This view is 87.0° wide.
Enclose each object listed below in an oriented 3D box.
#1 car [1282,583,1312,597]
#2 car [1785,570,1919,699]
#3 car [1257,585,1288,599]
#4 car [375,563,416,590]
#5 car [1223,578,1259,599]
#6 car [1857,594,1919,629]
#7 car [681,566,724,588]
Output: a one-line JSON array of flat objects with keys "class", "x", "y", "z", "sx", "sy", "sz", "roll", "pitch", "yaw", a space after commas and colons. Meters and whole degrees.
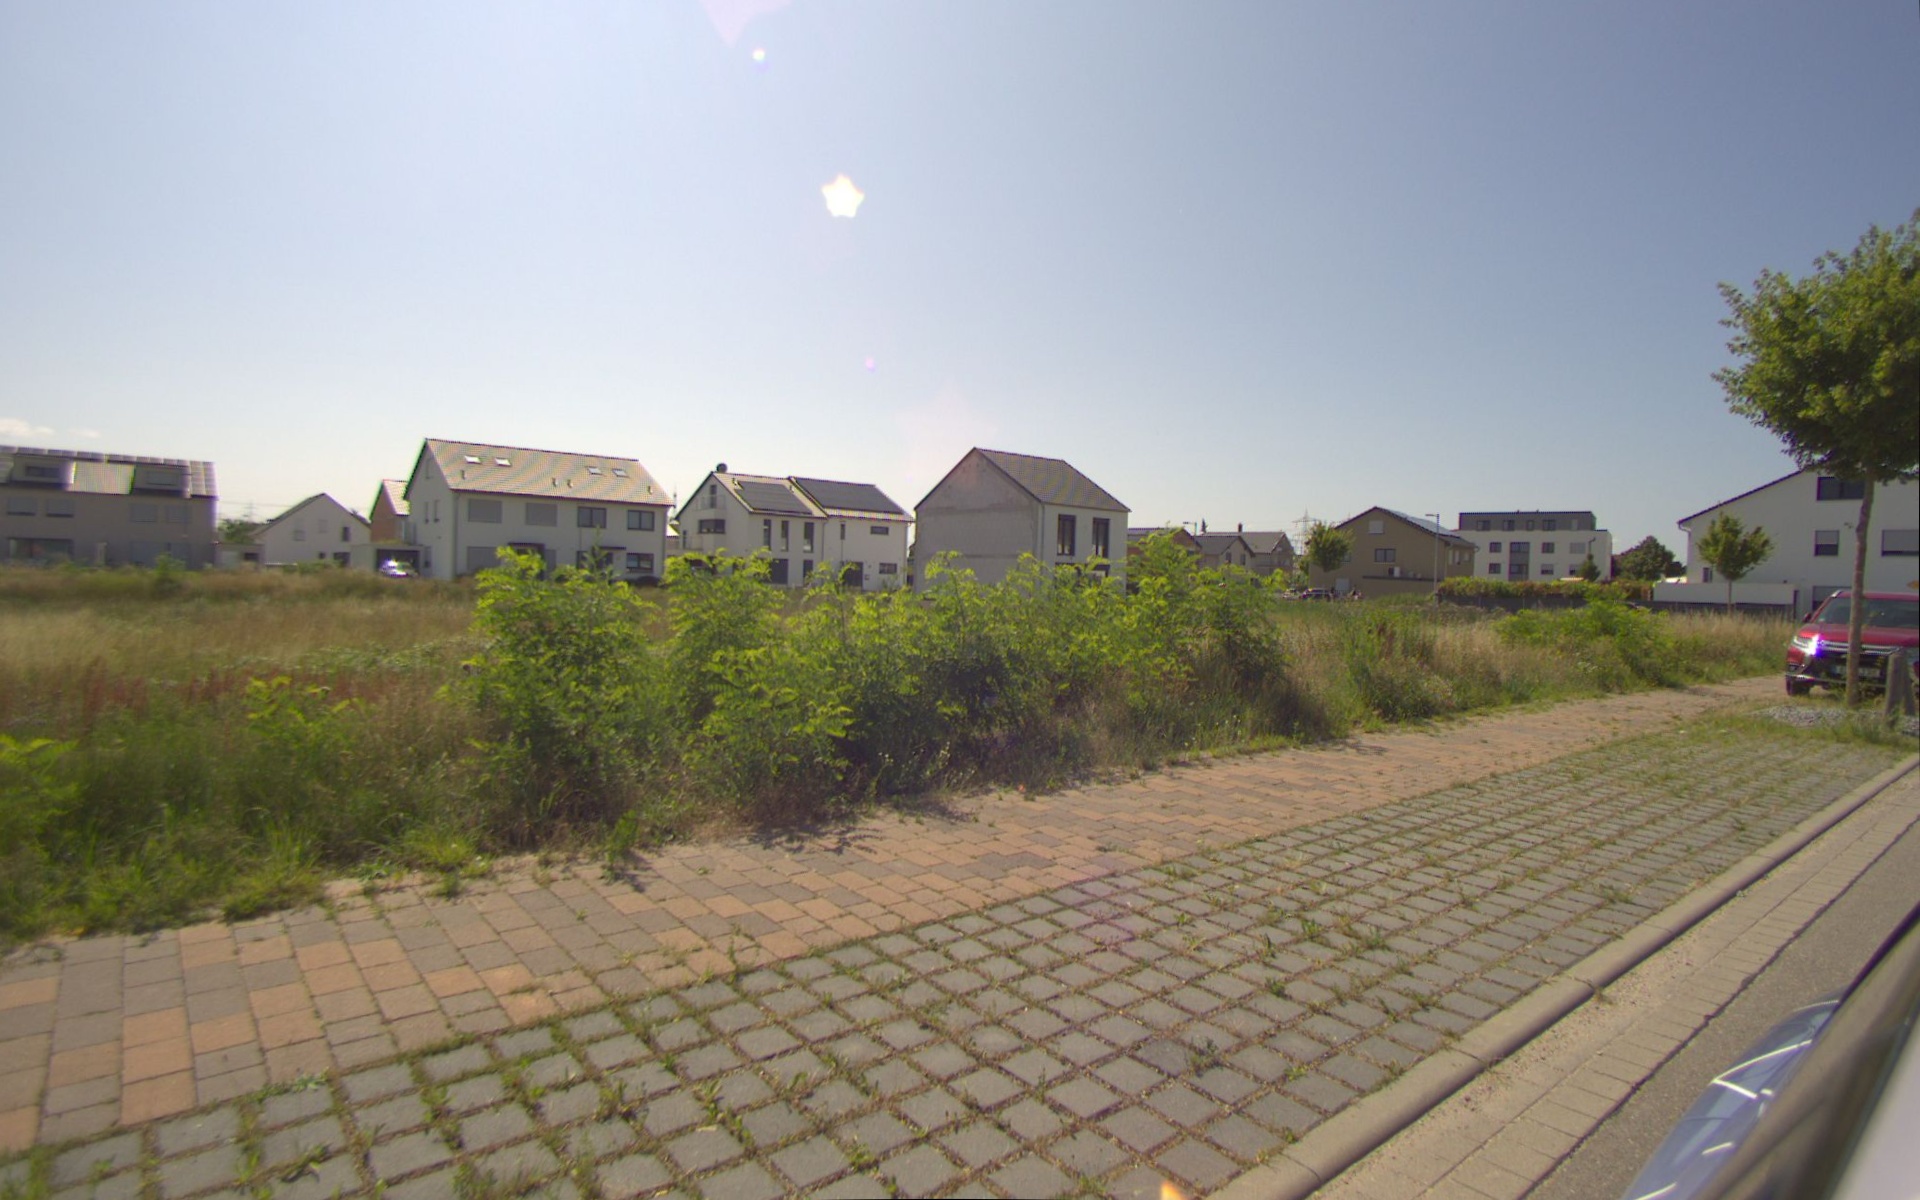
[{"class": "car", "x": 37.083, "y": -1.107, "z": 111.283, "sx": 1.743, "sy": 1.521, "sz": 3.940, "roll": 3, "pitch": 2, "yaw": 41}, {"class": "car", "x": 14.165, "y": 0.476, "z": 15.335, "sx": 4.355, "sy": 1.683, "sz": 1.781, "roll": 1, "pitch": 2, "yaw": -41}, {"class": "car", "x": 32.929, "y": -0.859, "z": 106.553, "sx": 1.661, "sy": 1.418, "sz": 3.862, "roll": 3, "pitch": 2, "yaw": 41}, {"class": "car", "x": -34.982, "y": -1.466, "z": 62.695, "sx": 1.781, "sy": 1.593, "sz": 4.000, "roll": 1, "pitch": 1, "yaw": -36}, {"class": "car", "x": 28.152, "y": -1.116, "z": 101.336, "sx": 1.992, "sy": 2.038, "sz": 3.940, "roll": 3, "pitch": 2, "yaw": 41}, {"class": "car", "x": 45.485, "y": 0.577, "z": 47.910, "sx": 1.926, "sy": 1.577, "sz": 4.344, "roll": 1, "pitch": 1, "yaw": -41}, {"class": "car", "x": -19.137, "y": -1.702, "z": 75.084, "sx": 1.781, "sy": 1.531, "sz": 4.000, "roll": 1, "pitch": 1, "yaw": -36}]
